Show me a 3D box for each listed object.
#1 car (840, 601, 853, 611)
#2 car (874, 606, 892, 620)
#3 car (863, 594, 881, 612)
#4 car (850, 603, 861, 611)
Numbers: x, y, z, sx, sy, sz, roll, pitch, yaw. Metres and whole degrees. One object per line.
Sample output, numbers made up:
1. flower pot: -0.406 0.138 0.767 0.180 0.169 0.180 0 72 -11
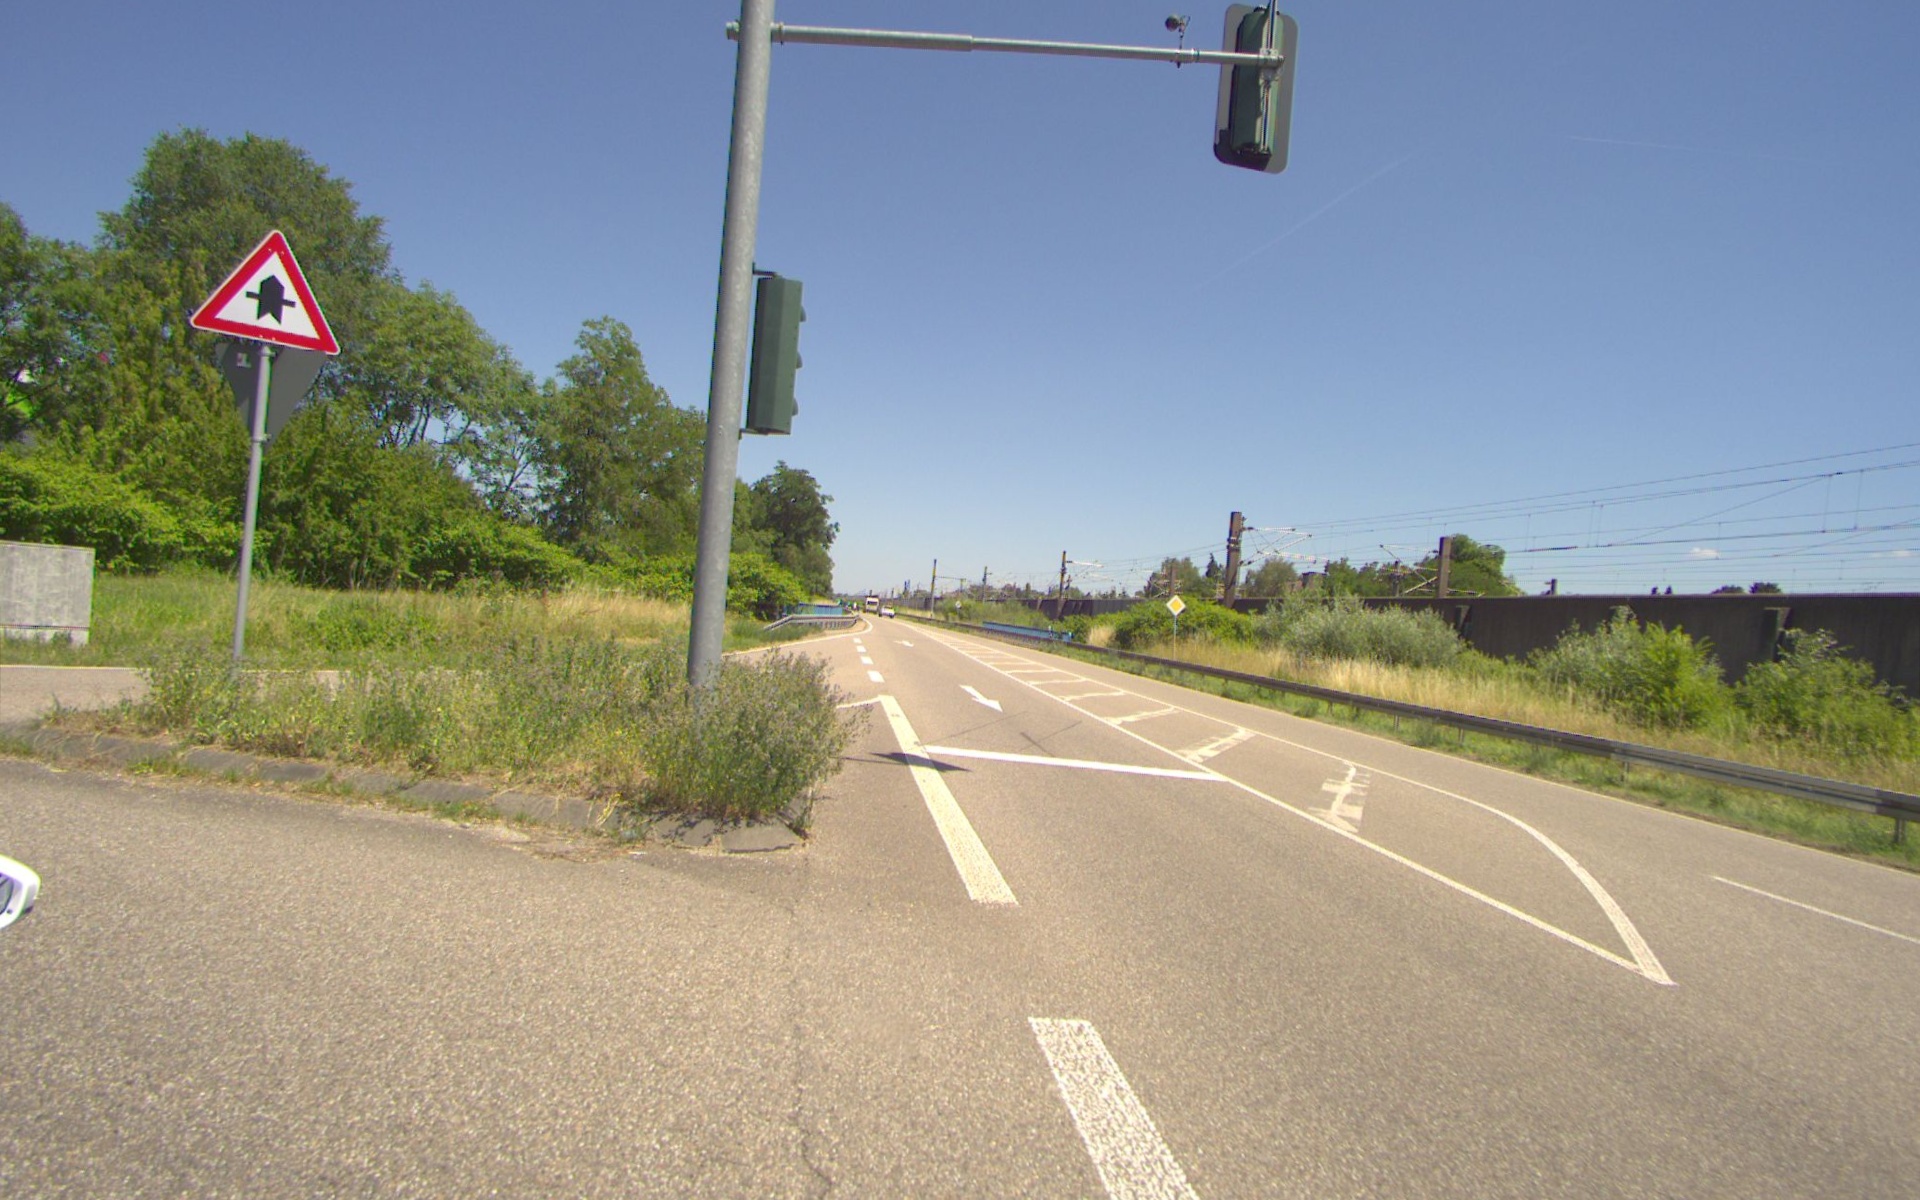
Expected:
1. car: -18.116 0.964 160.416 1.831 1.396 4.496 7 0 -8
2. car: -10.127 1.647 131.807 1.793 1.583 4.271 7 0 -9
3. car: -14.281 0.473 163.405 2.158 2.636 6.739 7 0 -9
4. car: -21.285 1.450 204.868 1.831 1.396 4.496 7 0 -9
